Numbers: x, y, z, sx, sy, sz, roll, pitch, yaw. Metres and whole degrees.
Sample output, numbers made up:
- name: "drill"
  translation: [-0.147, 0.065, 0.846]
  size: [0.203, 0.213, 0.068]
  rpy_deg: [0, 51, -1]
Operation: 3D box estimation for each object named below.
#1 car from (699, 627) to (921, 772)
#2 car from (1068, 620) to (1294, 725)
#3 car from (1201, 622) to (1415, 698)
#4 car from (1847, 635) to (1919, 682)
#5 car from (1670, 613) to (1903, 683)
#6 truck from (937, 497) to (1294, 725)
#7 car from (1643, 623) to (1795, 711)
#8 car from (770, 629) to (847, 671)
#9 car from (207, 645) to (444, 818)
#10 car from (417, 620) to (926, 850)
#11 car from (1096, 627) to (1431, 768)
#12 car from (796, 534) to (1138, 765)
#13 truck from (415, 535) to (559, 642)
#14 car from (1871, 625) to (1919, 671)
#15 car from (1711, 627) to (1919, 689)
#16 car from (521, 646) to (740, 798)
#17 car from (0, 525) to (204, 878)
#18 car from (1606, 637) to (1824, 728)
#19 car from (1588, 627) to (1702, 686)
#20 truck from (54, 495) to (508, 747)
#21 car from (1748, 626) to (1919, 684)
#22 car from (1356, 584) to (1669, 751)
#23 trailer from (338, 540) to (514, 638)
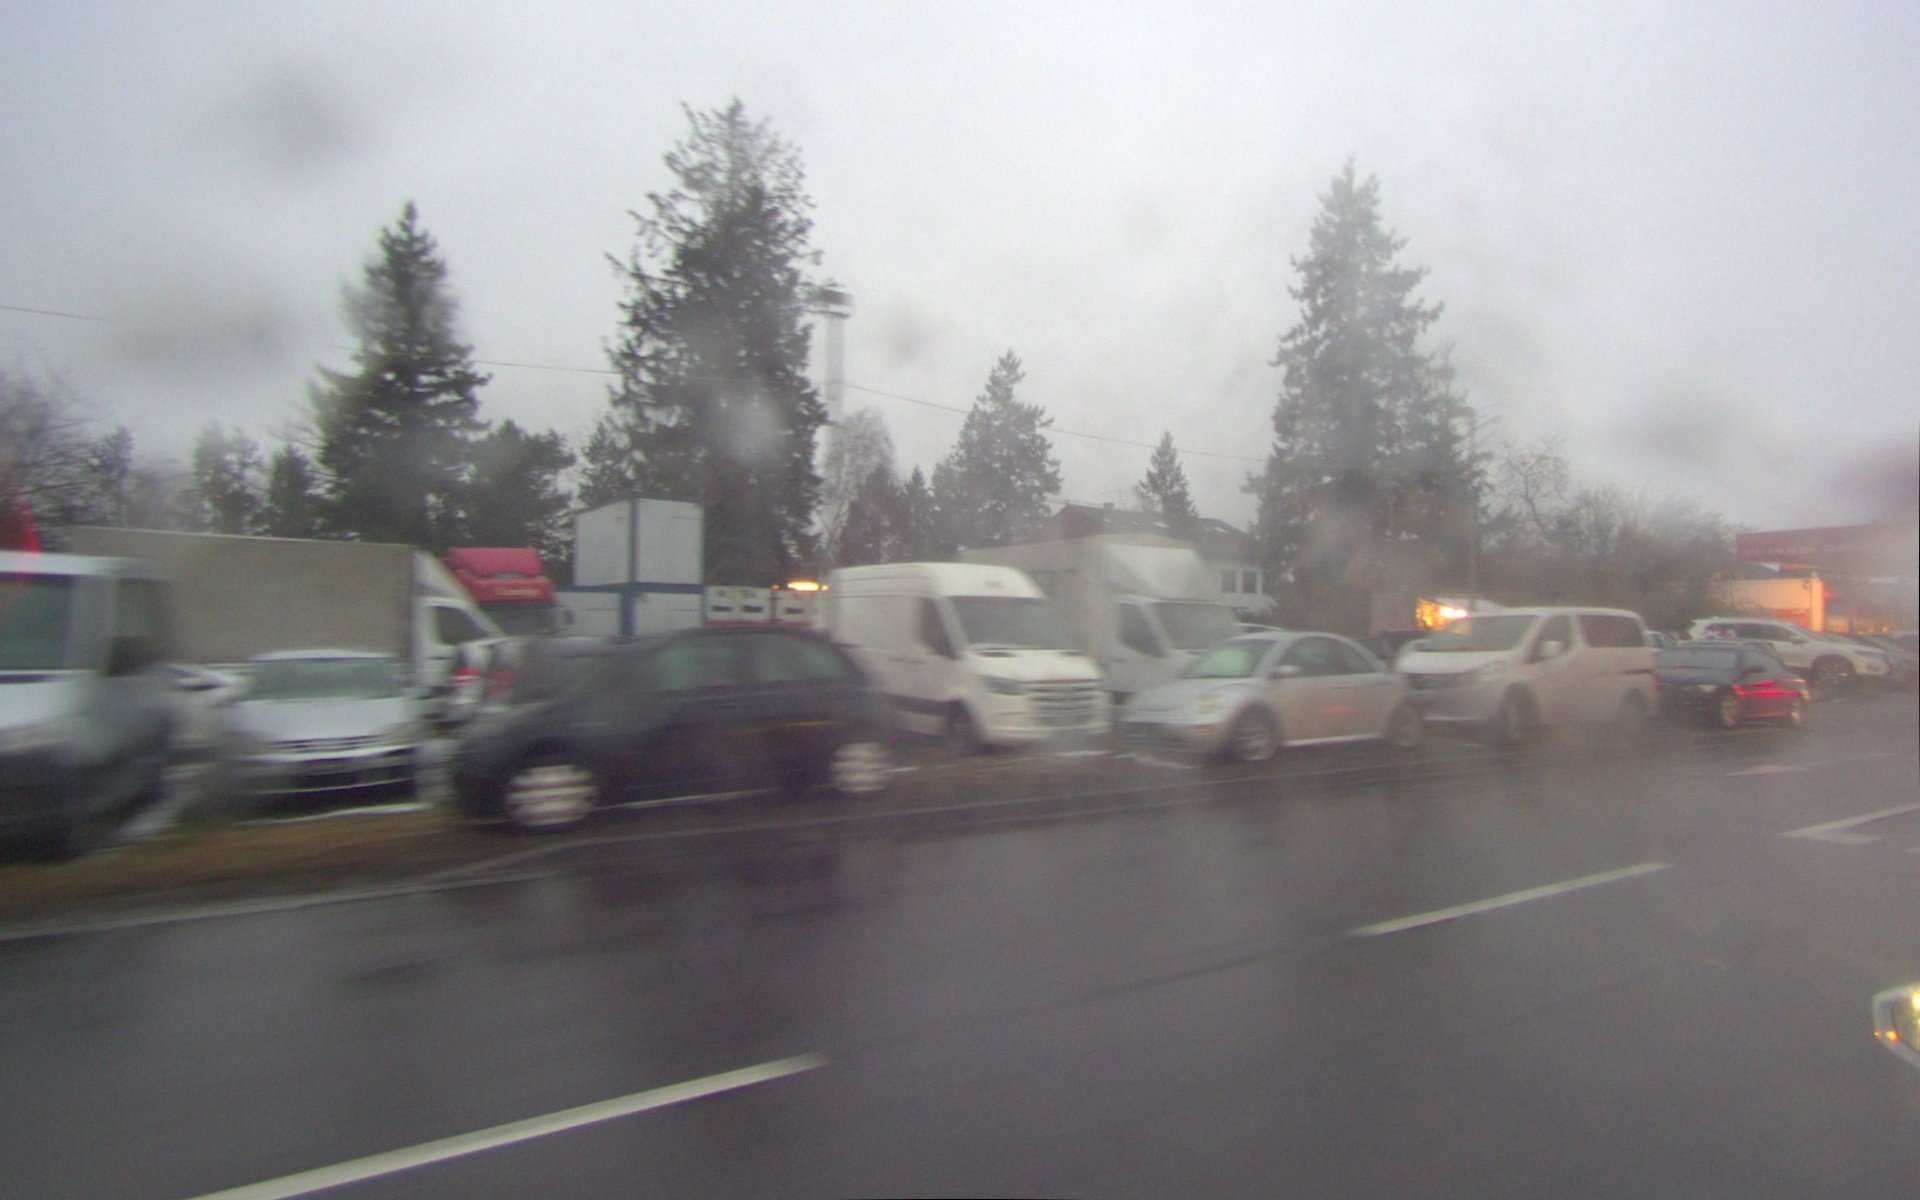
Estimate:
- name: "car"
  translation: [-1.936, 1.087, 12.275]
  size: [1.483, 1.512, 3.208]
  rpy_deg: [1, -2, -34]
- name: "car"
  translation: [4.142, 1.292, 19.419]
  size: [2.004, 1.756, 4.024]
  rpy_deg: [1, -1, -34]
- name: "car"
  translation: [7.219, 1.189, 21.183]
  size: [1.796, 1.396, 4.024]
  rpy_deg: [1, -1, -34]
- name: "car"
  translation: [32.237, 1.968, 33.417]
  size: [1.757, 1.479, 3.750]
  rpy_deg: [1, 0, -33]
- name: "car"
  translation: [22.115, 1.220, 27.052]
  size: [1.990, 1.699, 4.506]
  rpy_deg: [1, -1, -34]
- name: "truck"
  translation: [2.308, 0.220, 17.532]
  size: [2.308, 3.183, 6.823]
  rpy_deg: [1, -1, -31]
- name: "car"
  translation: [15.317, 1.315, 20.268]
  size: [2.829, 1.666, 1.169]
  rpy_deg: [1, -2, -23]
- name: "car"
  translation: [-4.782, 1.541, 31.520]
  size: [1.330, 1.234, 2.783]
  rpy_deg: [1, -1, -33]
- name: "car"
  translation: [-6.860, 1.235, 10.840]
  size: [1.823, 1.401, 3.962]
  rpy_deg: [0, -1, -34]
- name: "car"
  translation: [-2.290, 0.915, 8.167]
  size: [3.698, 1.439, 1.643]
  rpy_deg: [0, -1, -30]
- name: "car"
  translation: [3.626, 1.043, 11.881]
  size: [3.793, 1.431, 1.643]
  rpy_deg: [1, -2, -29]
- name: "car"
  translation: [-0.220, 0.651, 14.773]
  size: [2.172, 2.673, 5.998]
  rpy_deg: [1, -2, -32]
- name: "truck"
  translation: [-13.243, -0.284, 27.993]
  size: [2.220, 2.732, 4.662]
  rpy_deg: [1, 0, -44]
- name: "car"
  translation: [36.104, 1.758, 36.542]
  size: [1.918, 1.672, 4.031]
  rpy_deg: [1, -1, -28]
- name: "car"
  translation: [24.199, 1.580, 28.436]
  size: [1.969, 1.518, 4.319]
  rpy_deg: [1, -1, -27]
- name: "car"
  translation: [-3.809, 1.235, 11.310]
  size: [1.466, 1.346, 3.282]
  rpy_deg: [2, -1, -34]
- name: "car"
  translation: [-7.771, 0.724, 8.099]
  size: [2.034, 2.178, 5.122]
  rpy_deg: [1, -3, -30]
- name: "car"
  translation: [12.639, 1.372, 16.750]
  size: [4.212, 1.338, 1.561]
  rpy_deg: [4, -4, -33]
- name: "car"
  translation: [21.275, 1.722, 31.172]
  size: [3.667, 1.699, 1.660]
  rpy_deg: [1, -1, -33]
- name: "truck"
  translation: [-10.716, 0.386, 16.430]
  size: [5.794, 3.499, 2.018]
  rpy_deg: [1, -3, -35]
- name: "car"
  translation: [26.335, 1.585, 29.804]
  size: [1.804, 1.518, 4.316]
  rpy_deg: [1, -1, -30]
- name: "car"
  translation: [7.840, 0.884, 14.167]
  size: [4.429, 2.040, 1.827]
  rpy_deg: [2, -1, -29]
- name: "trailer"
  translation: [-17.476, -0.323, 32.392]
  size: [2.205, 2.709, 10.368]
  rpy_deg: [1, 0, -44]
